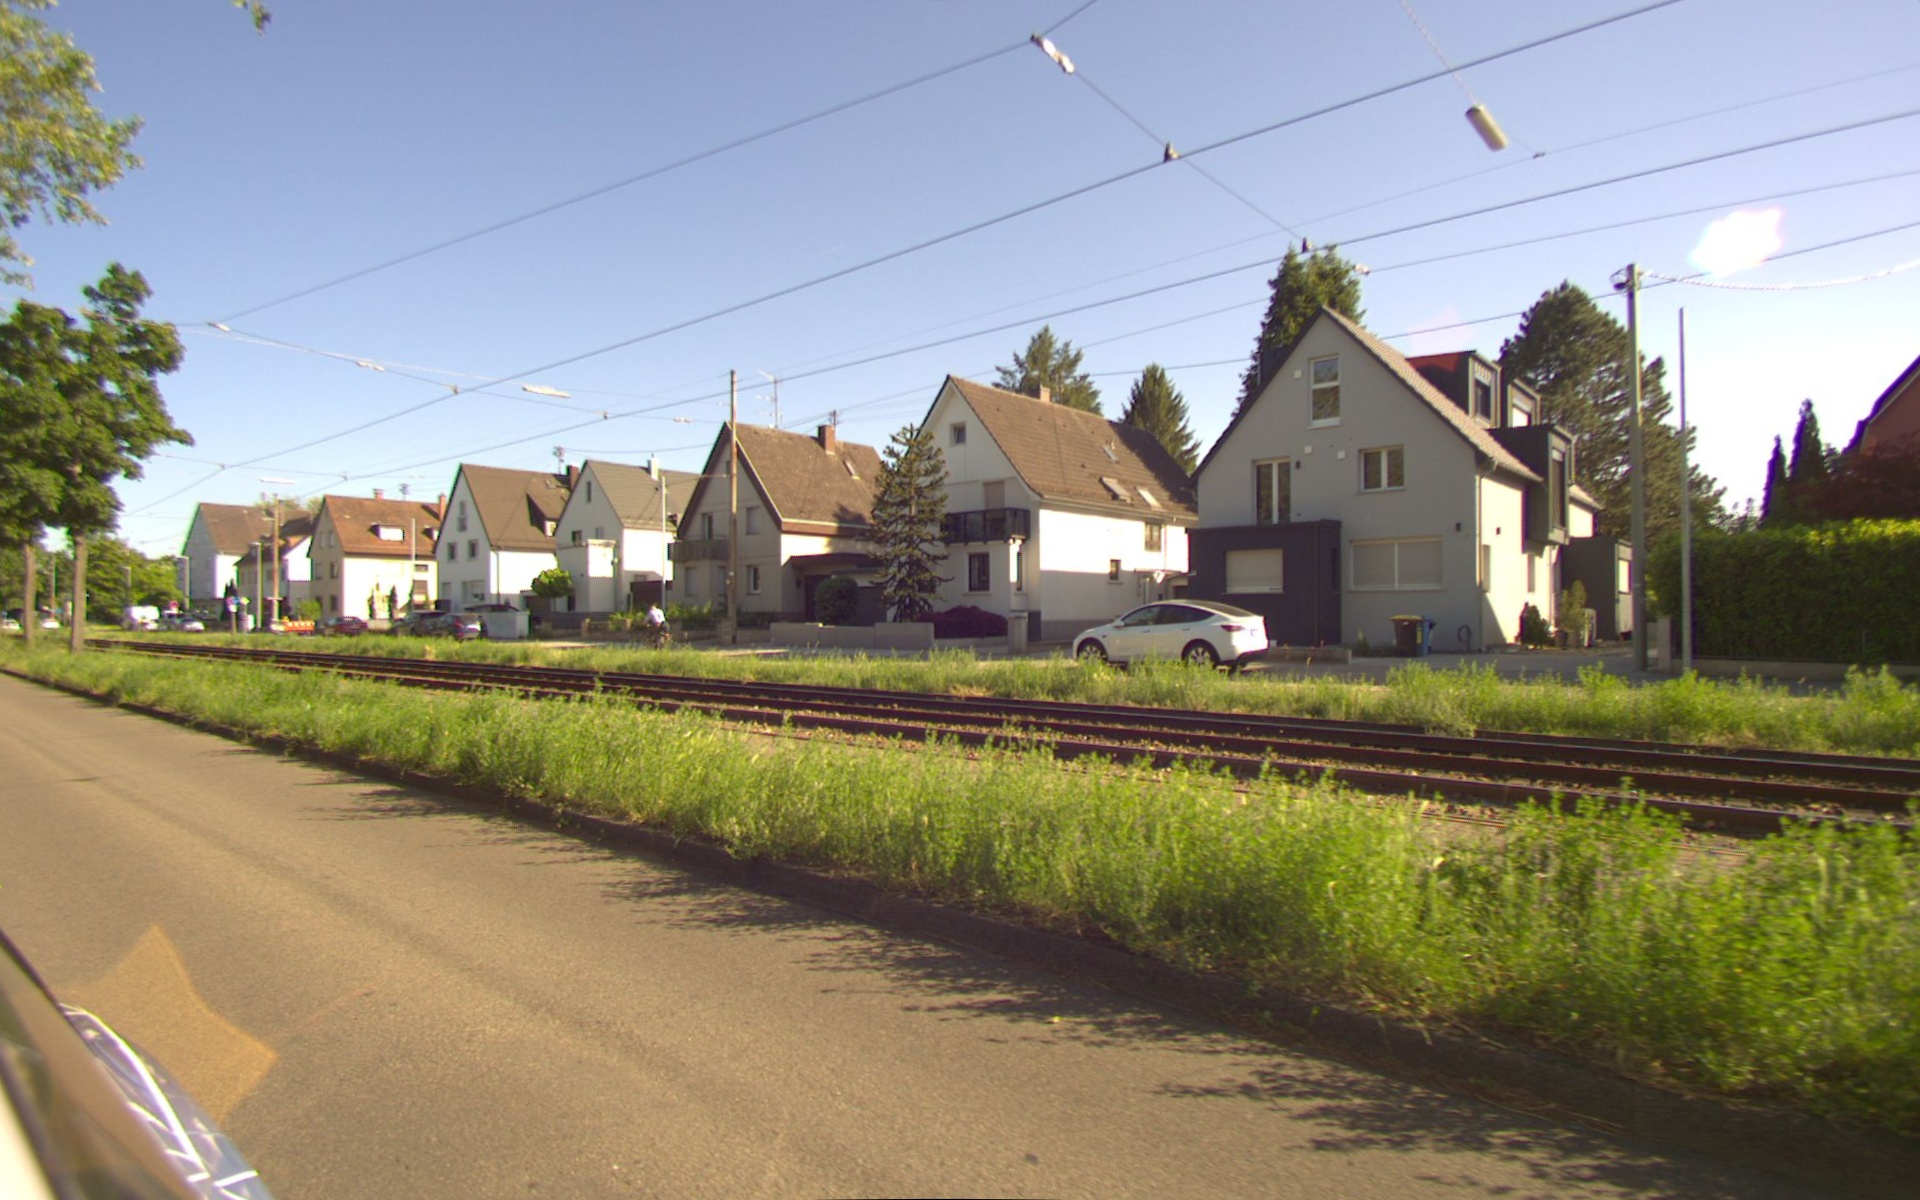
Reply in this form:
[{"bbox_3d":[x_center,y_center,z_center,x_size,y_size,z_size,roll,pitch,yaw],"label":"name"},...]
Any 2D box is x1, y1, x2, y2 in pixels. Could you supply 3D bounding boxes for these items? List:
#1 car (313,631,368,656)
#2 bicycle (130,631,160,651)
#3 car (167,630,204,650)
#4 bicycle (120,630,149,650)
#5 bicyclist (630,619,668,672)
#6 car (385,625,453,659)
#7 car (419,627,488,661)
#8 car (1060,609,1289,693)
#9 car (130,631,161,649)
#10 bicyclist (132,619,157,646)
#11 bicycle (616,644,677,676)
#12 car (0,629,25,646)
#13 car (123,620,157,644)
[{"bbox_3d":[-36.944,2.573,60.309,3.822,1.392,1.733,-1,0,42],"label":"car"},{"bbox_3d":[-68.381,3.431,84.902,3.998,1.506,1.336,-1,0,42],"label":"bicycle"},{"bbox_3d":[-65.252,3.348,85.254,3.999,1.517,1.768,-1,0,42],"label":"car"},{"bbox_3d":[-71.720,3.446,87.914,3.998,1.589,1.336,-1,0,42],"label":"bicycle"},{"bbox_3d":[-10.229,1.484,33.270,0.836,1.687,0.843,-1,0,41],"label":"bicyclist"},{"bbox_3d":[-27.726,2.105,51.854,4.010,1.609,1.779,-1,0,42],"label":"car"},{"bbox_3d":[-24.558,2.113,49.059,3.754,1.501,1.716,-1,0,42],"label":"car"},{"bbox_3d":[4.876,1.103,23.464,4.837,1.691,1.973,-1,0,42],"label":"car"},{"bbox_3d":[-75.849,3.705,94.223,4.001,1.517,1.767,-1,0,44],"label":"car"},{"bbox_3d":[-68.209,2.714,84.655,1.622,2.250,1.293,-1,0,41],"label":"bicyclist"},{"bbox_3d":[-10.337,1.952,33.365,2.308,0.958,0.843,-1,0,42],"label":"bicycle"},{"bbox_3d":[-121.490,4.783,129.552,3.998,2.050,2.106,-1,0,41],"label":"car"},{"bbox_3d":[-79.169,3.052,97.668,4.001,2.239,2.104,-1,0,44],"label":"car"}]
